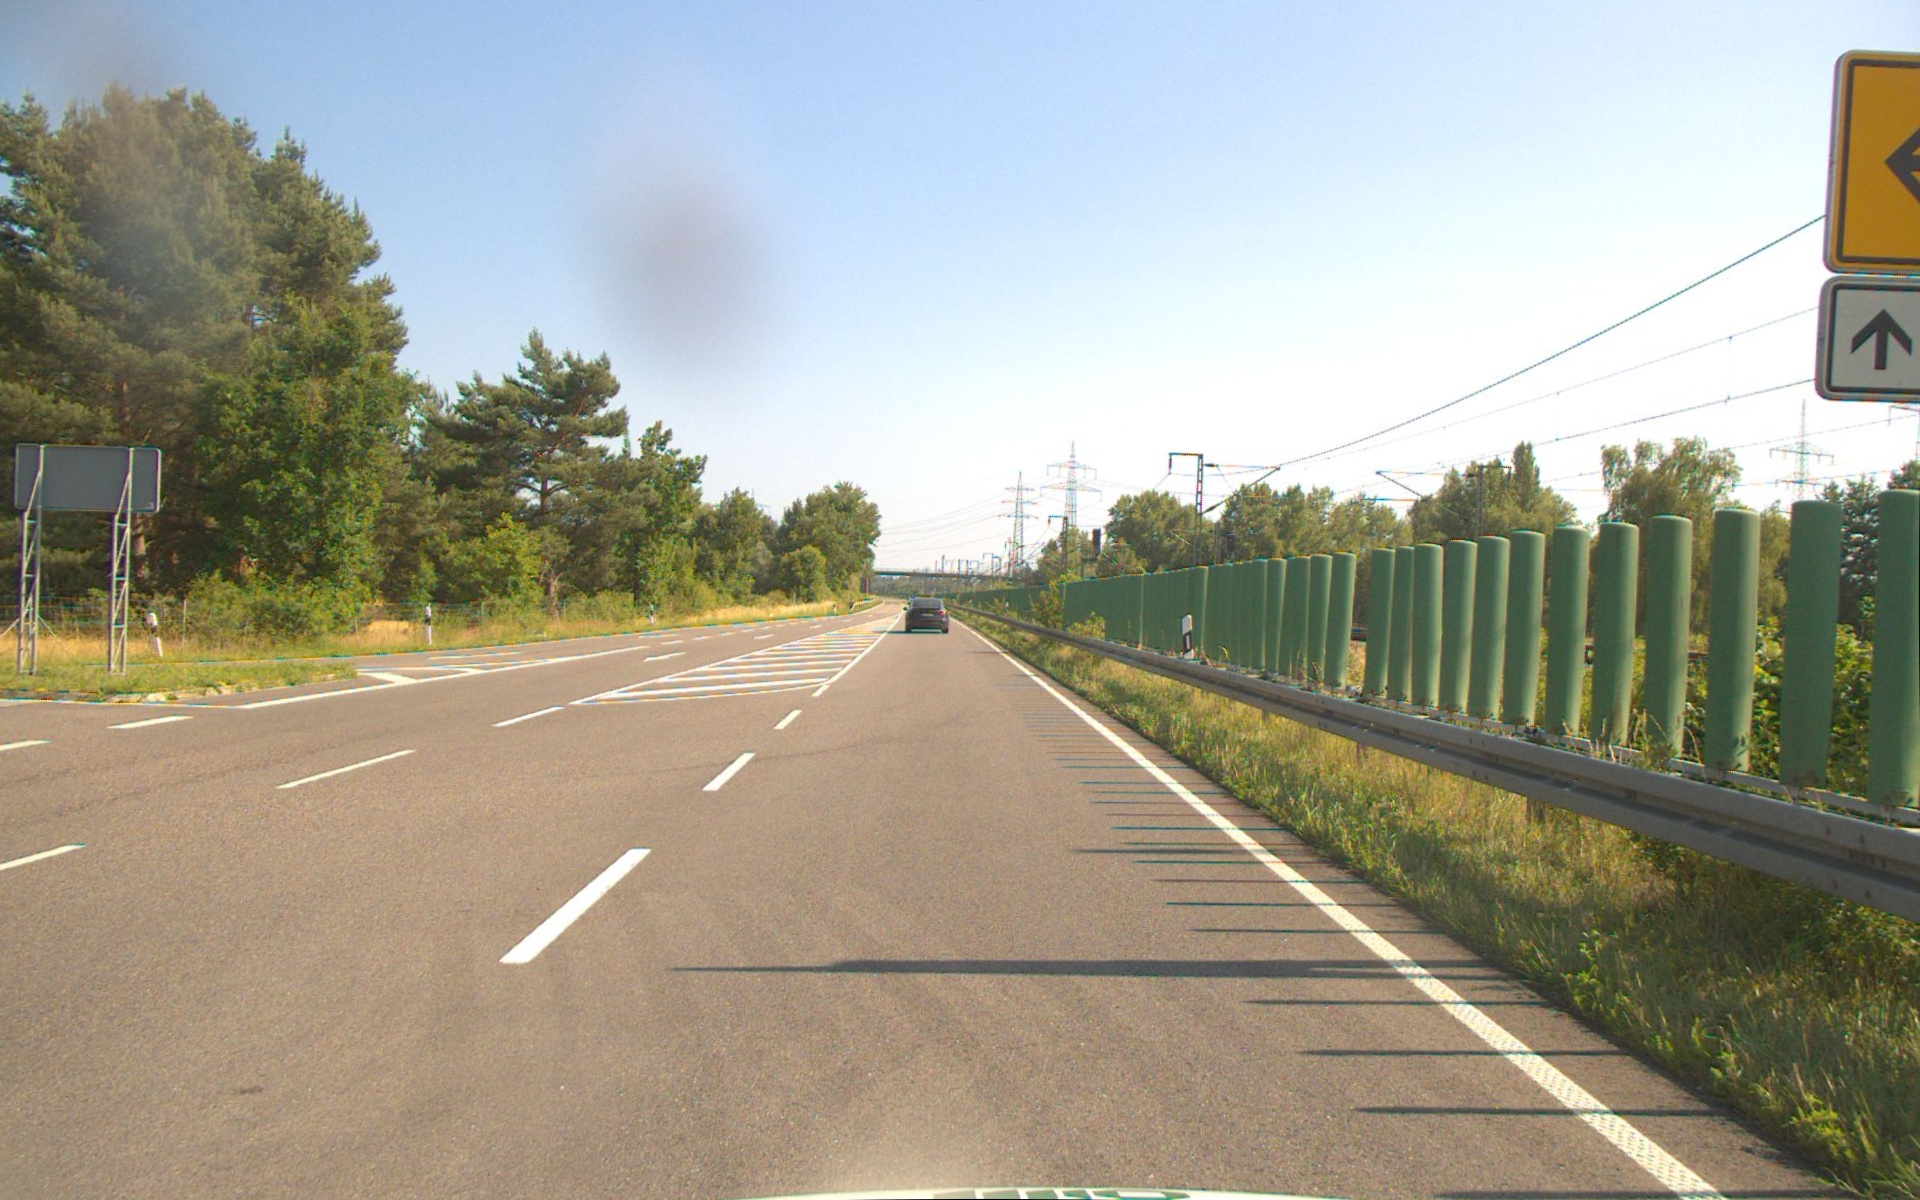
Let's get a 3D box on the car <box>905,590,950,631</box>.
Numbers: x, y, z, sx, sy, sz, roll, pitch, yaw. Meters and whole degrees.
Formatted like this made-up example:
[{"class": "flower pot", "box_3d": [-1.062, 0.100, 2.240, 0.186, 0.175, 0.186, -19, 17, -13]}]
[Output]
[{"class": "car", "box_3d": [-1.363, 0.416, 69.458, 1.821, 1.670, 3.999, 0, 0, -1]}]
